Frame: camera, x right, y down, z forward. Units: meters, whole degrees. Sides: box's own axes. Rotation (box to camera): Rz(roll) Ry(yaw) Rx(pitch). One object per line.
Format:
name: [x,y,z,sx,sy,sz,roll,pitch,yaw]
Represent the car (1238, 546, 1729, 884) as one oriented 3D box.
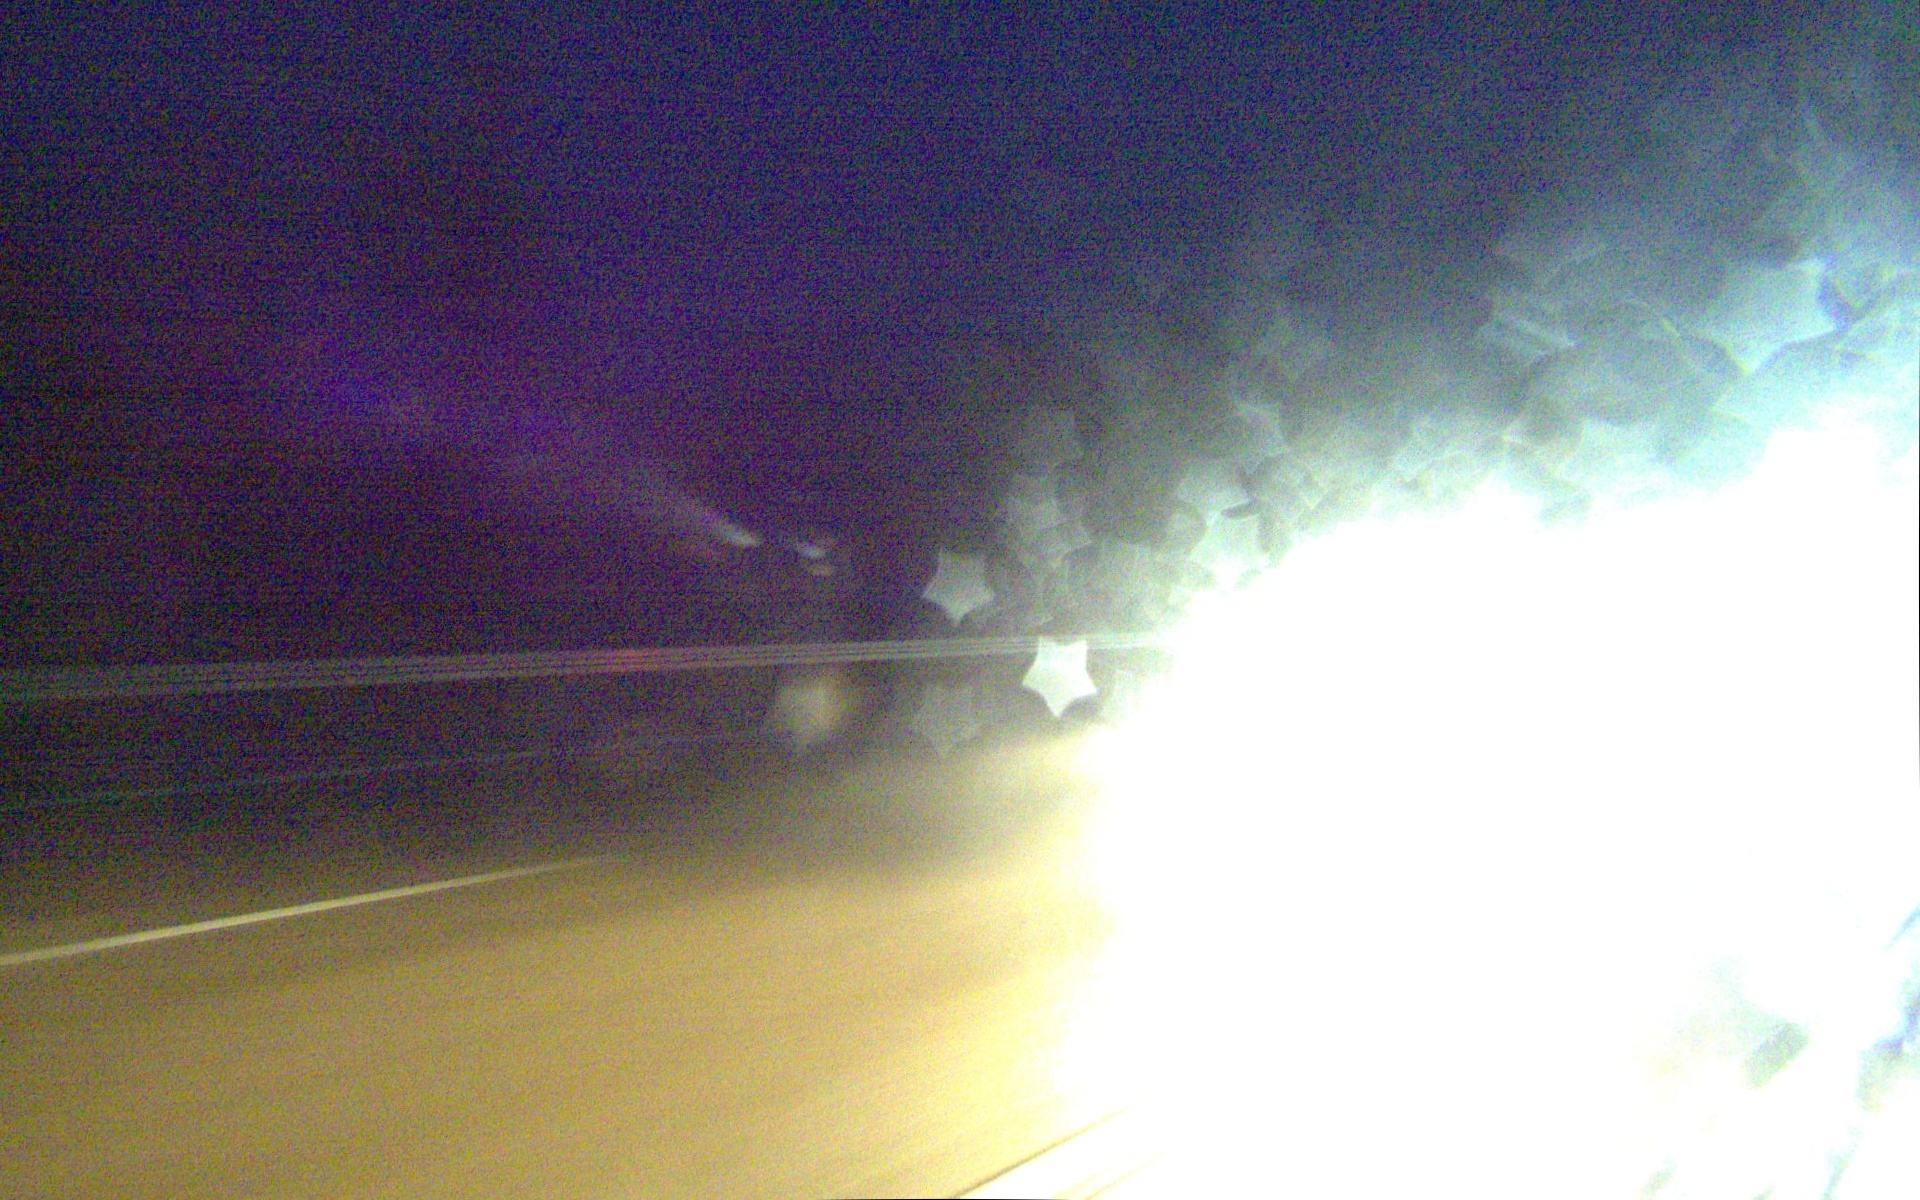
car: [3.833,0.563,7.038,4.186,1.638,1.802,0,-1,-44]
